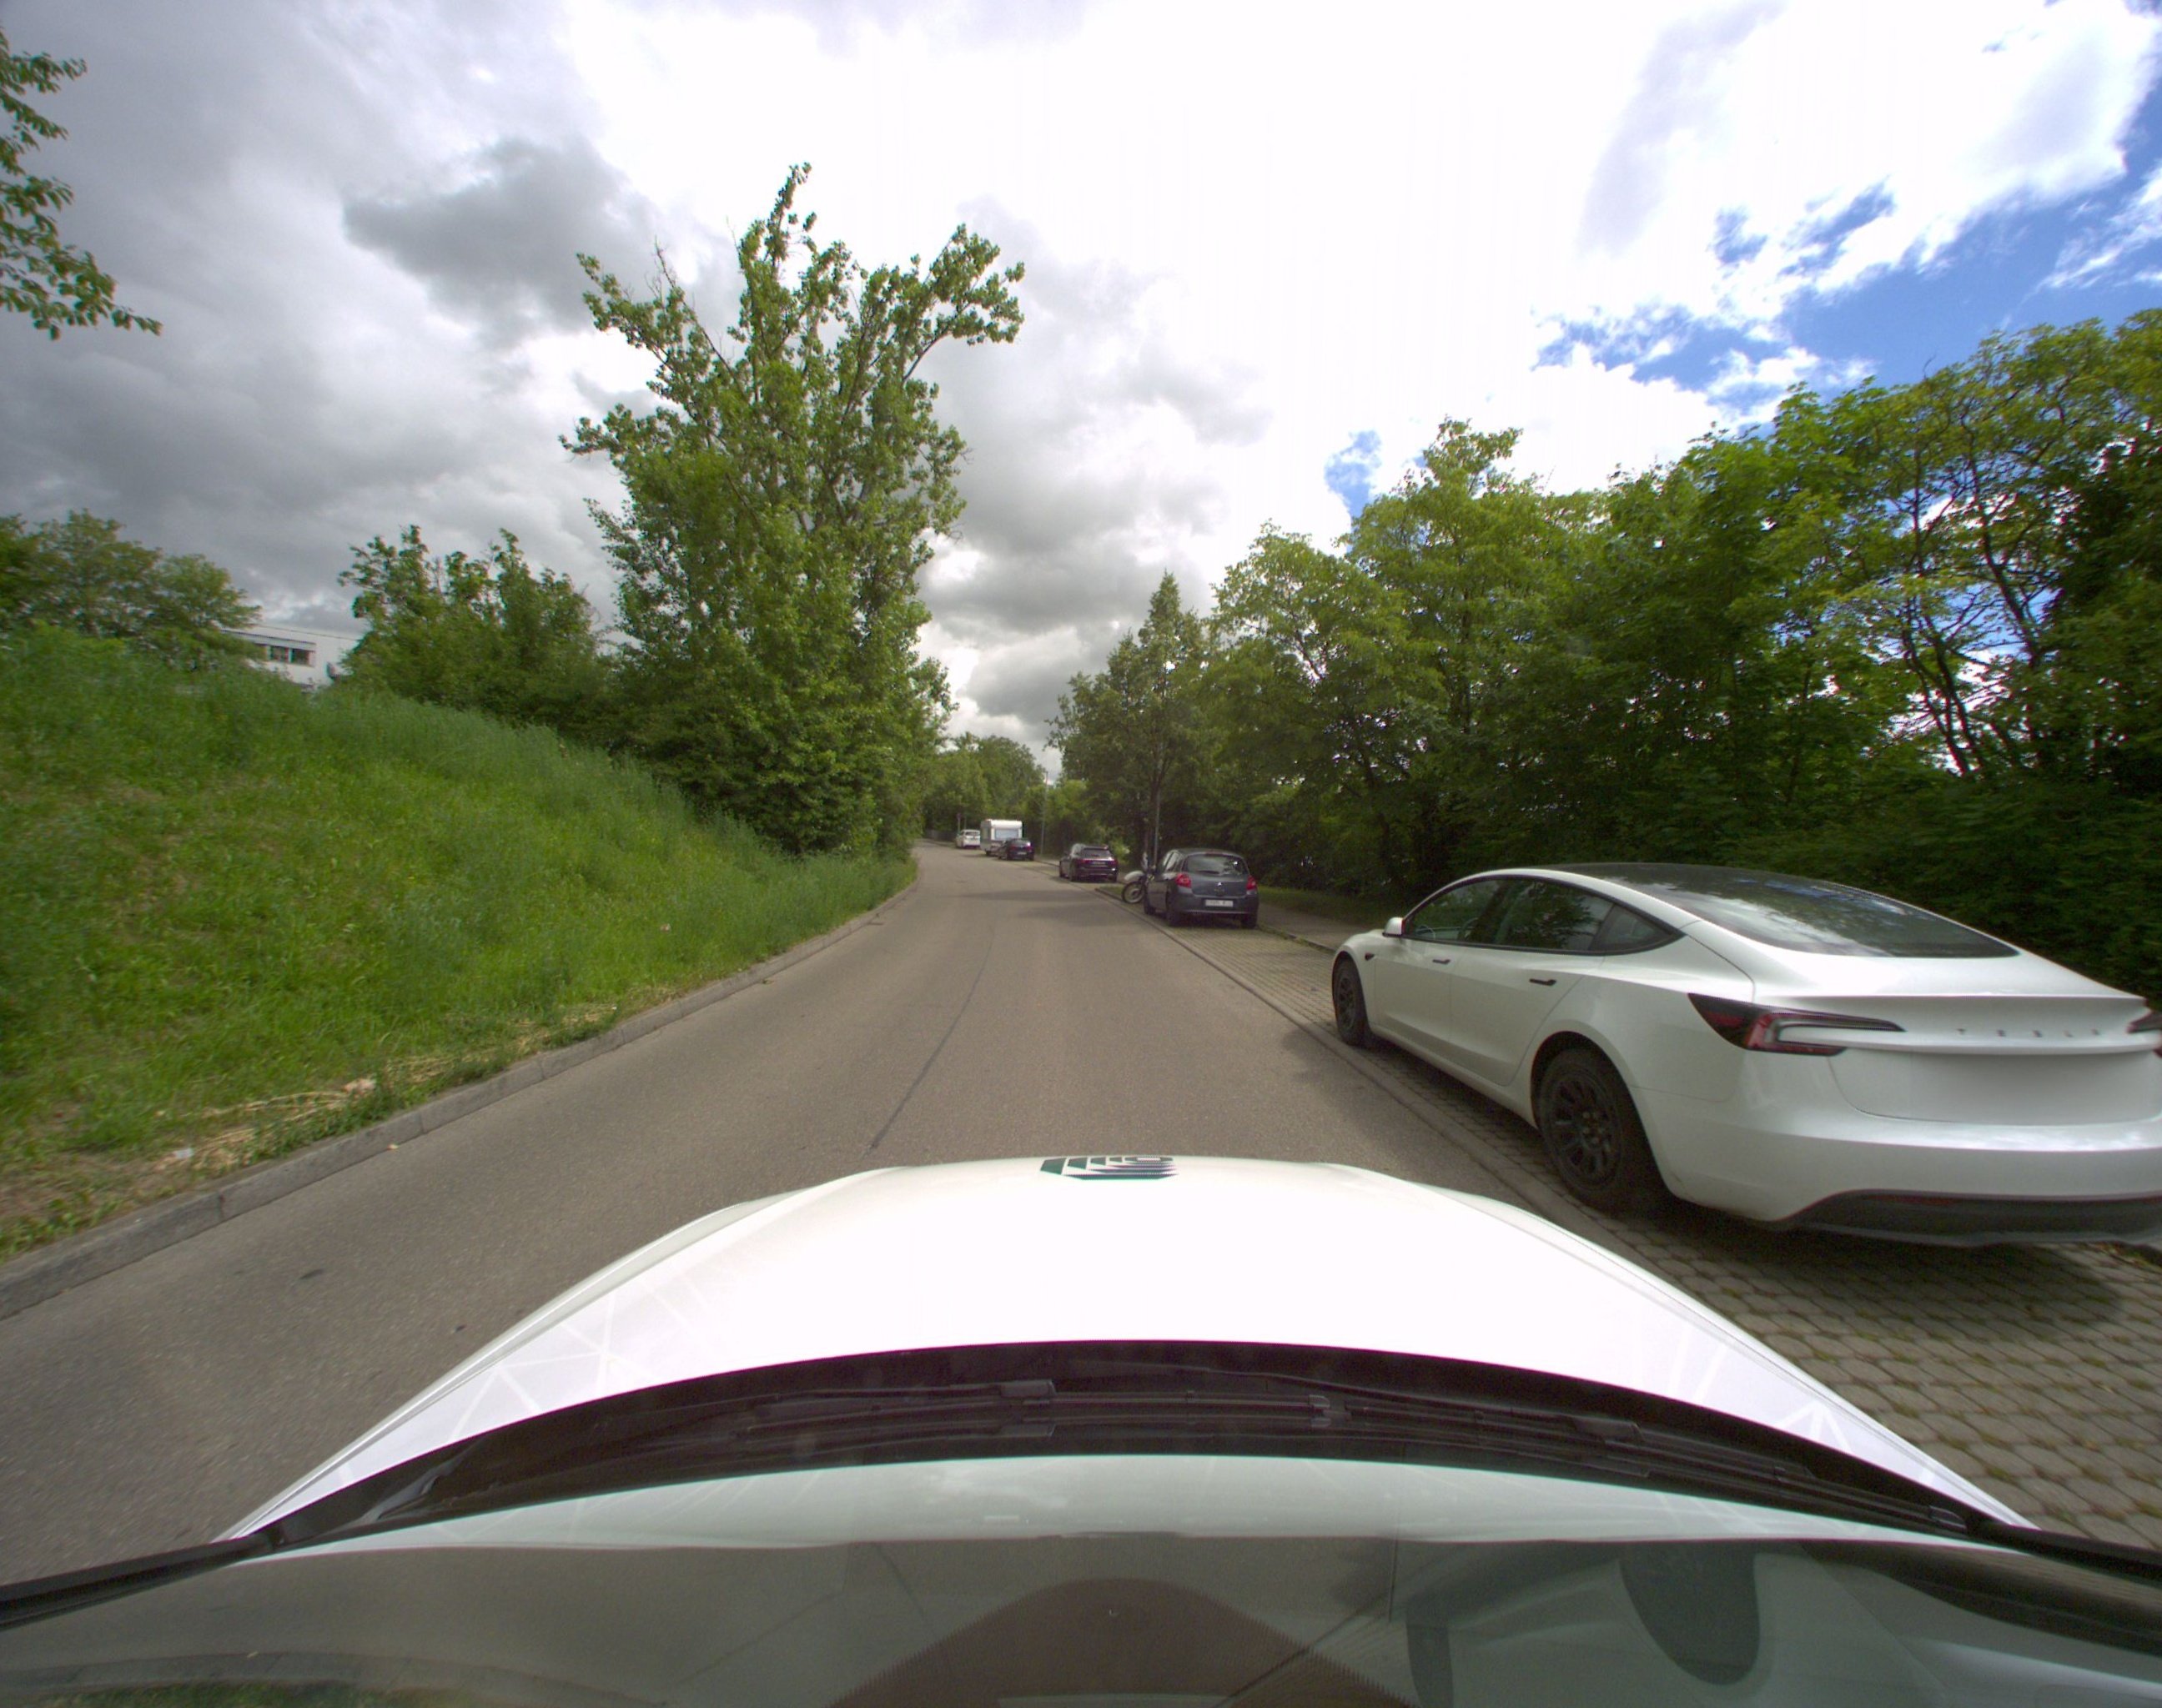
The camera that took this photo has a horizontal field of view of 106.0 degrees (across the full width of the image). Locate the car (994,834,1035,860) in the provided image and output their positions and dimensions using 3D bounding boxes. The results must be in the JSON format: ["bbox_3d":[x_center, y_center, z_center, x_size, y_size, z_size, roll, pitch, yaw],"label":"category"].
[{"bbox_3d":[-4.268,-0.466,51.514,1.686,1.450,4.455,2,1,-17],"label":"car"}]

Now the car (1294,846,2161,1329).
[{"bbox_3d":[2.954,0.703,5.014,1.858,1.477,4.898,0,1,-2],"label":"car"}]

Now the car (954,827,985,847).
[{"bbox_3d":[-9.530,-1.450,69.065,1.810,1.599,4.345,1,2,-19],"label":"car"}]

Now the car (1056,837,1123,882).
[{"bbox_3d":[0.242,0.154,32.411,1.892,1.529,4.533,2,2,-9],"label":"car"}]

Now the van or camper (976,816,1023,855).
[{"bbox_3d":[-5.755,-1.333,56.877,2.360,2.553,5.046,1,2,-17],"label":"van or camper"}]

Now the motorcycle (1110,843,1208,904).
[{"bbox_3d":[1.967,0.460,20.500,2.286,1.475,0.980,0,0,19],"label":"motorcycle"}]

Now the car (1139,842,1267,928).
[{"bbox_3d":[2.356,0.549,16.772,1.766,1.517,4.102,1,0,-4],"label":"car"}]
